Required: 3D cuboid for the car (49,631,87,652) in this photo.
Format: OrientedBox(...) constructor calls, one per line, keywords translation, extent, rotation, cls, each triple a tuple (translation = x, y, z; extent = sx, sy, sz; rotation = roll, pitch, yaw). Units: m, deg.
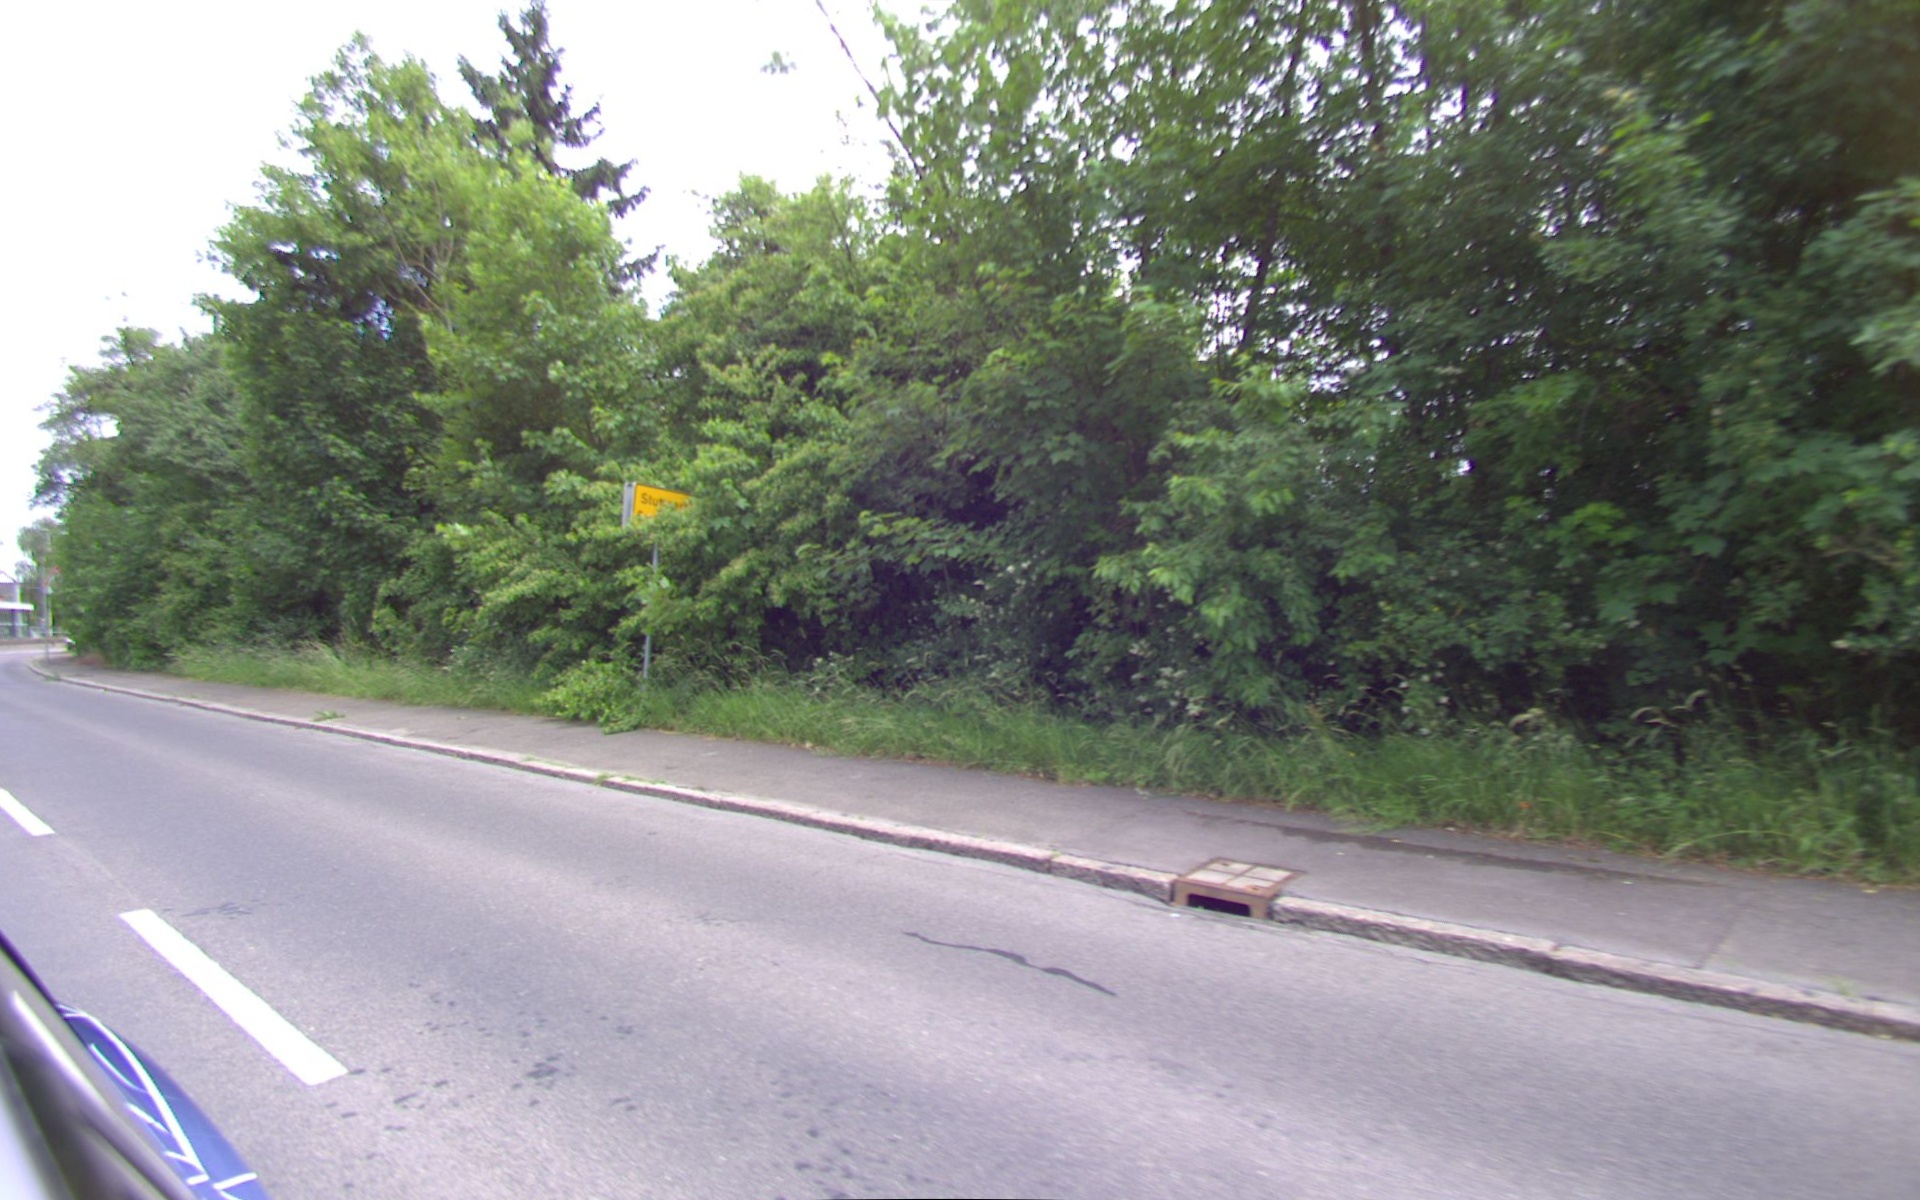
OrientedBox(translation=(-66.444, 3.055, 75.435), extent=(1.905, 1.533, 4.666), rotation=(2, -2, -40), cls="car")
